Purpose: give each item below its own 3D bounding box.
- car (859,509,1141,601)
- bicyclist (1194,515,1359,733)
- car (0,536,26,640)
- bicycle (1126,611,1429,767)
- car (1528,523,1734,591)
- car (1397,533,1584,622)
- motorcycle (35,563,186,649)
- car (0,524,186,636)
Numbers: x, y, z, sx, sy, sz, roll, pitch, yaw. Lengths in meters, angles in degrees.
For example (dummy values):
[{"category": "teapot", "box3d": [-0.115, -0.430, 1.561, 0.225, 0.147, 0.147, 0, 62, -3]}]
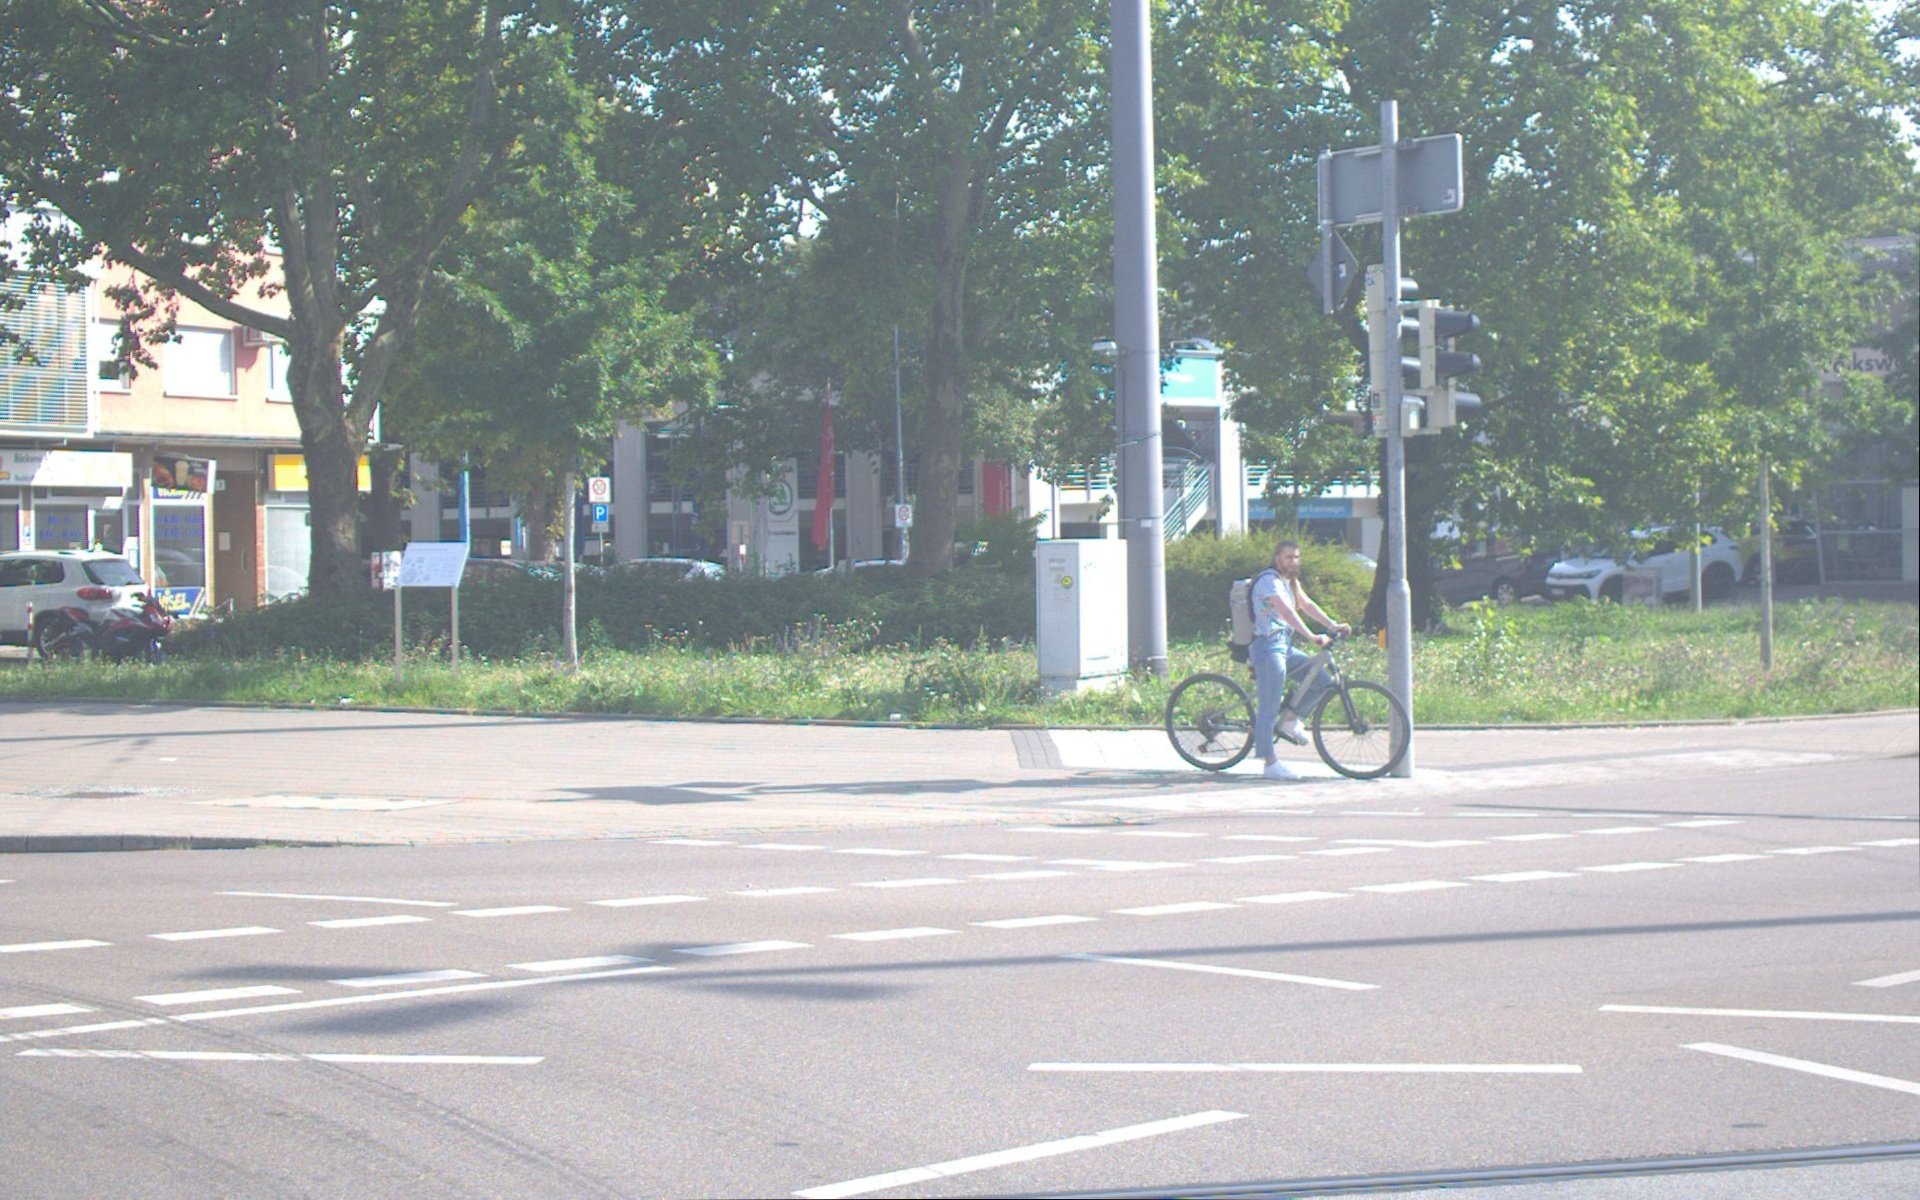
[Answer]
[{"category": "car", "box3d": [0.645, -0.715, 54.388, 3.991, 1.371, 1.998, 0, 1, 22]}, {"category": "bicyclist", "box3d": [2.113, 0.145, 22.958, 0.819, 1.422, 0.729, 1, 1, 41]}, {"category": "car", "box3d": [-15.921, -0.143, 50.234, 3.992, 1.502, 1.998, 0, 1, 24]}, {"category": "bicycle", "box3d": [2.102, 0.575, 22.989, 2.074, 0.890, 0.566, 3, 3, 42]}, {"category": "car", "box3d": [14.797, -0.960, 75.856, 4.047, 1.457, 2.000, -1, 1, -24]}, {"category": "car", "box3d": [12.321, -0.543, 79.991, 1.941, 2.007, 3.998, -1, 1, -42]}, {"category": "motorcycle", "box3d": [-10.253, 0.065, 41.462, 1.954, 0.998, 0.704, 0, 2, 38]}, {"category": "car", "box3d": [-14.082, -0.311, 52.488, 3.992, 1.639, 1.998, 0, 1, 24]}]
